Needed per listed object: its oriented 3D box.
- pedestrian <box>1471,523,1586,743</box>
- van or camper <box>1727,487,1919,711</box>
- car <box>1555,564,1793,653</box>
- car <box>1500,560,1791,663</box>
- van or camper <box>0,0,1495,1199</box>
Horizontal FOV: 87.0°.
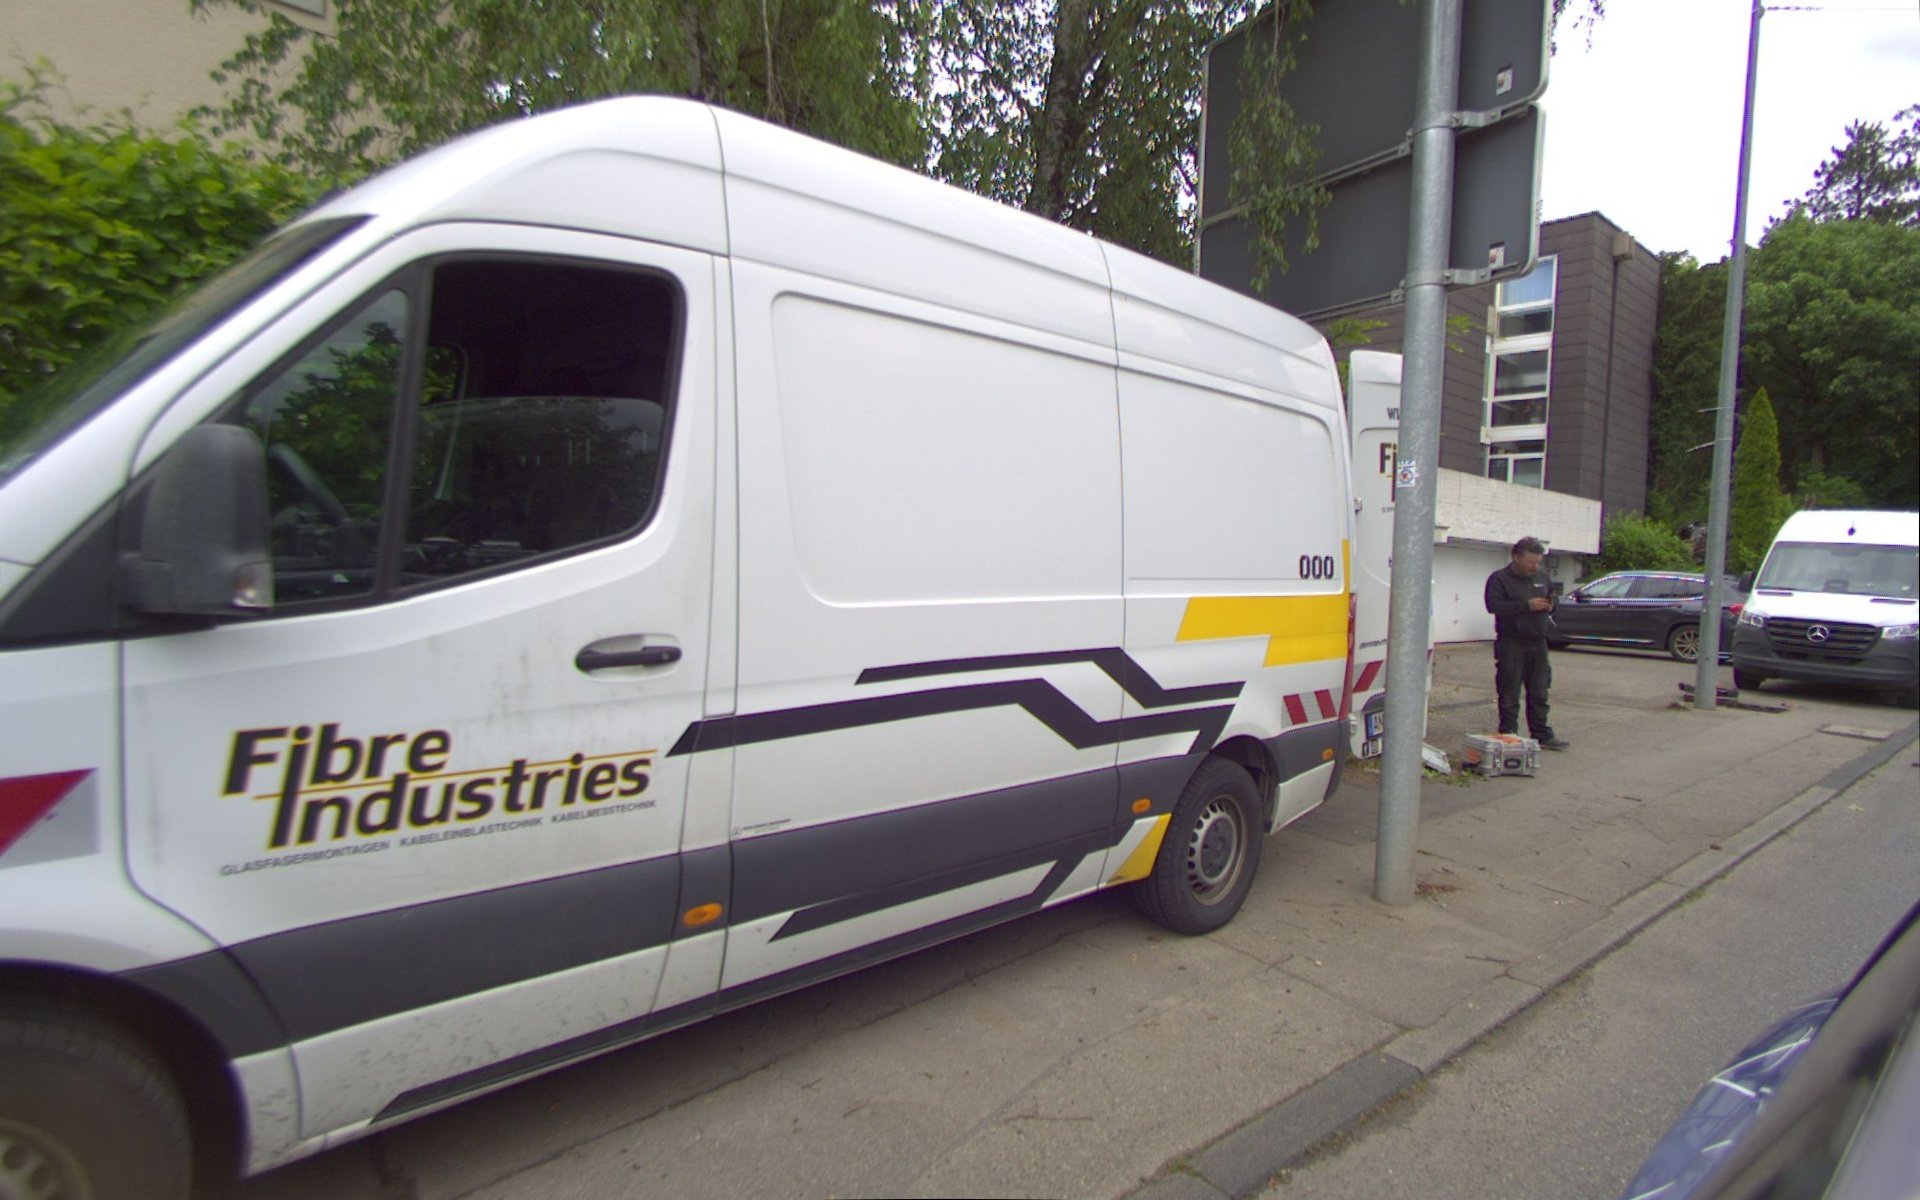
[{"bbox_3d":[4.779,0.254,8.556,0.640,1.773,0.652,1,2,13],"label":"pedestrian"},{"bbox_3d":[13.401,-0.114,14.770,6.429,2.656,1.996,-1,5,-40],"label":"van or camper"},{"bbox_3d":[15.664,0.111,22.373,1.712,1.671,3.914,0,3,-36],"label":"car"},{"bbox_3d":[13.267,0.128,19.833,1.665,1.695,4.394,0,3,-39],"label":"car"},{"bbox_3d":[-0.505,-0.082,3.871,6.492,2.523,2.345,-2,6,-43],"label":"van or camper"}]
